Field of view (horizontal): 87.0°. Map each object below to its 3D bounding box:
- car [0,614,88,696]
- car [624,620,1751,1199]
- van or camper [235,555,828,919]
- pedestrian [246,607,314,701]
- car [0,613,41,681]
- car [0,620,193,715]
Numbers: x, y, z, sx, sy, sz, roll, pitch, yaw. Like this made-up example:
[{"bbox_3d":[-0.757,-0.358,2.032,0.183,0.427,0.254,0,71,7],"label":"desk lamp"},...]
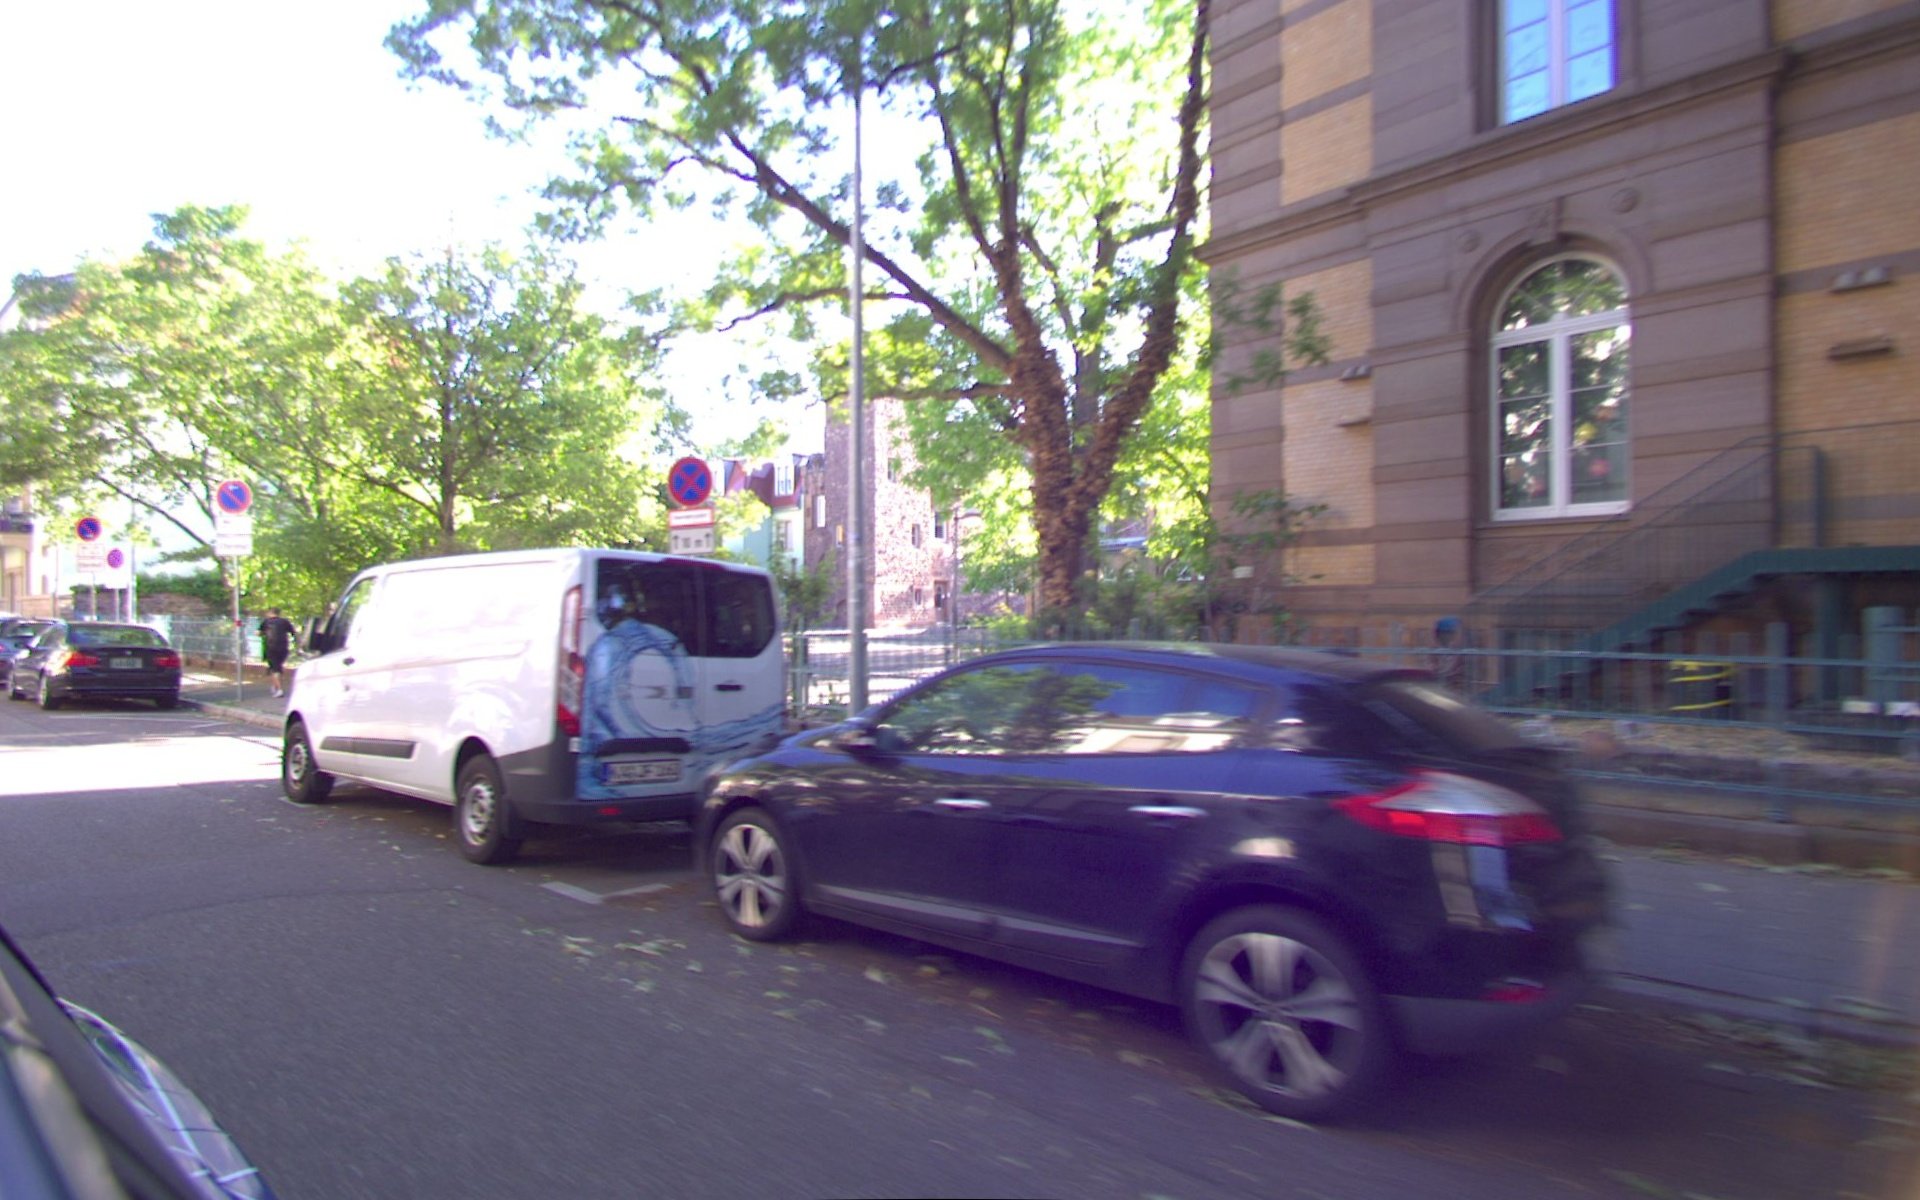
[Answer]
[{"bbox_3d":[-19.800,1.120,21.182,4.148,1.585,1.659,-1,-4,41],"label":"car"},{"bbox_3d":[0.647,0.860,4.608,4.602,1.468,1.980,-1,-3,40],"label":"car"},{"bbox_3d":[-3.671,0.830,8.036,5.455,1.995,1.903,-1,-4,39],"label":"van or camper"},{"bbox_3d":[-11.843,0.919,17.631,0.529,1.589,0.872,-1,-1,40],"label":"pedestrian"},{"bbox_3d":[-24.532,1.134,25.189,4.464,1.603,1.762,-1,-3,39],"label":"car"},{"bbox_3d":[-14.888,1.103,17.247,4.774,1.406,1.697,-1,-5,39],"label":"car"}]
